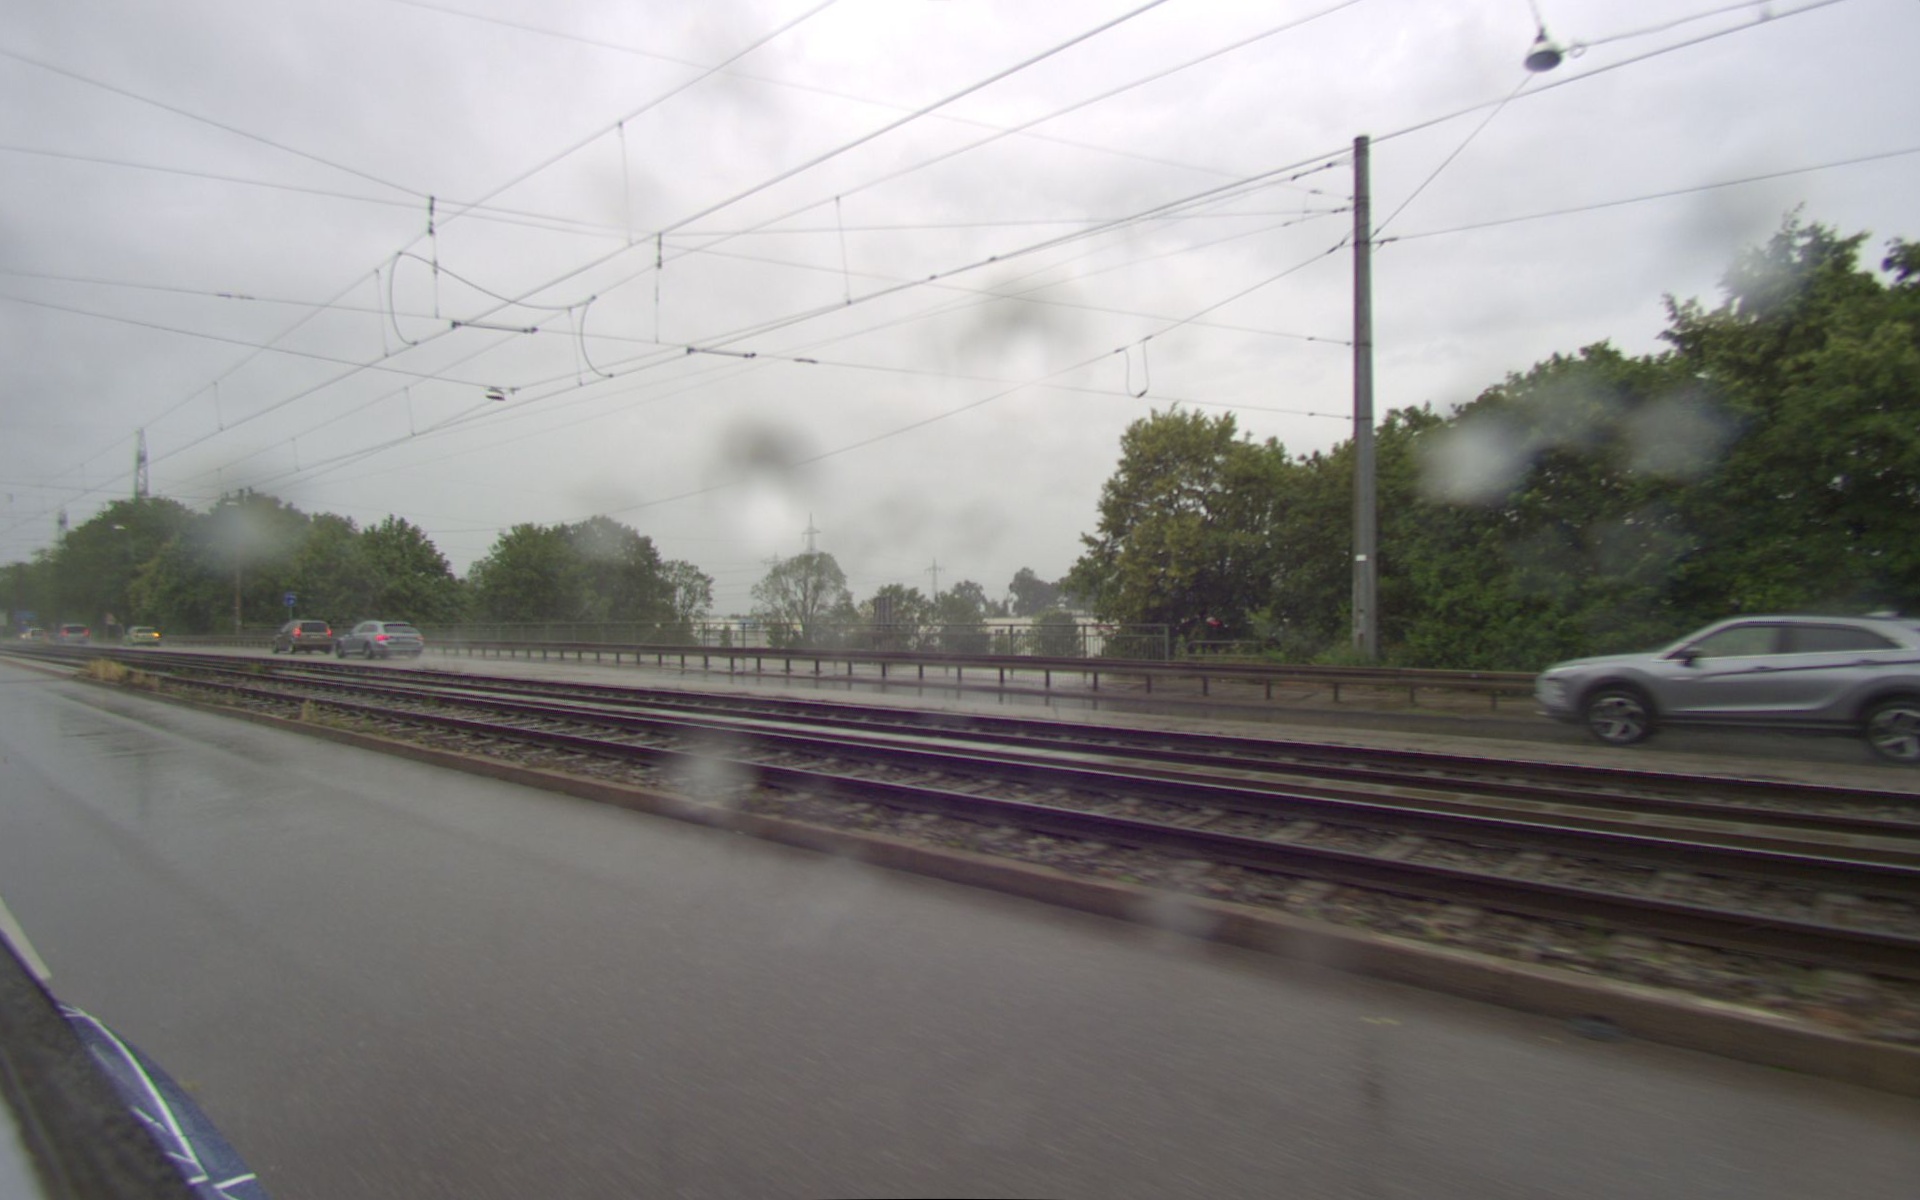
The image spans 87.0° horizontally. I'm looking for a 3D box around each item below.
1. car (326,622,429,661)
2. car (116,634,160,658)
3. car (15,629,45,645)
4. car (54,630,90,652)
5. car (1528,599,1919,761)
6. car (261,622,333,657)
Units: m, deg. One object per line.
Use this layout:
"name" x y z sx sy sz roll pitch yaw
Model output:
"car" -22.704 1.597 39.371 4.849 1.399 1.973 -2 -1 40
"car" -58.640 3.251 72.208 3.998 1.606 1.827 -1 -1 41
"car" -100.058 4.003 108.913 3.998 1.629 1.973 -1 -1 41
"car" -80.008 3.660 91.170 4.392 1.845 1.829 -1 2 41
"car" 9.710 0.862 12.017 4.869 1.685 1.973 -2 -1 40
"car" -32.180 1.867 49.067 4.383 1.586 1.821 -1 -1 41
